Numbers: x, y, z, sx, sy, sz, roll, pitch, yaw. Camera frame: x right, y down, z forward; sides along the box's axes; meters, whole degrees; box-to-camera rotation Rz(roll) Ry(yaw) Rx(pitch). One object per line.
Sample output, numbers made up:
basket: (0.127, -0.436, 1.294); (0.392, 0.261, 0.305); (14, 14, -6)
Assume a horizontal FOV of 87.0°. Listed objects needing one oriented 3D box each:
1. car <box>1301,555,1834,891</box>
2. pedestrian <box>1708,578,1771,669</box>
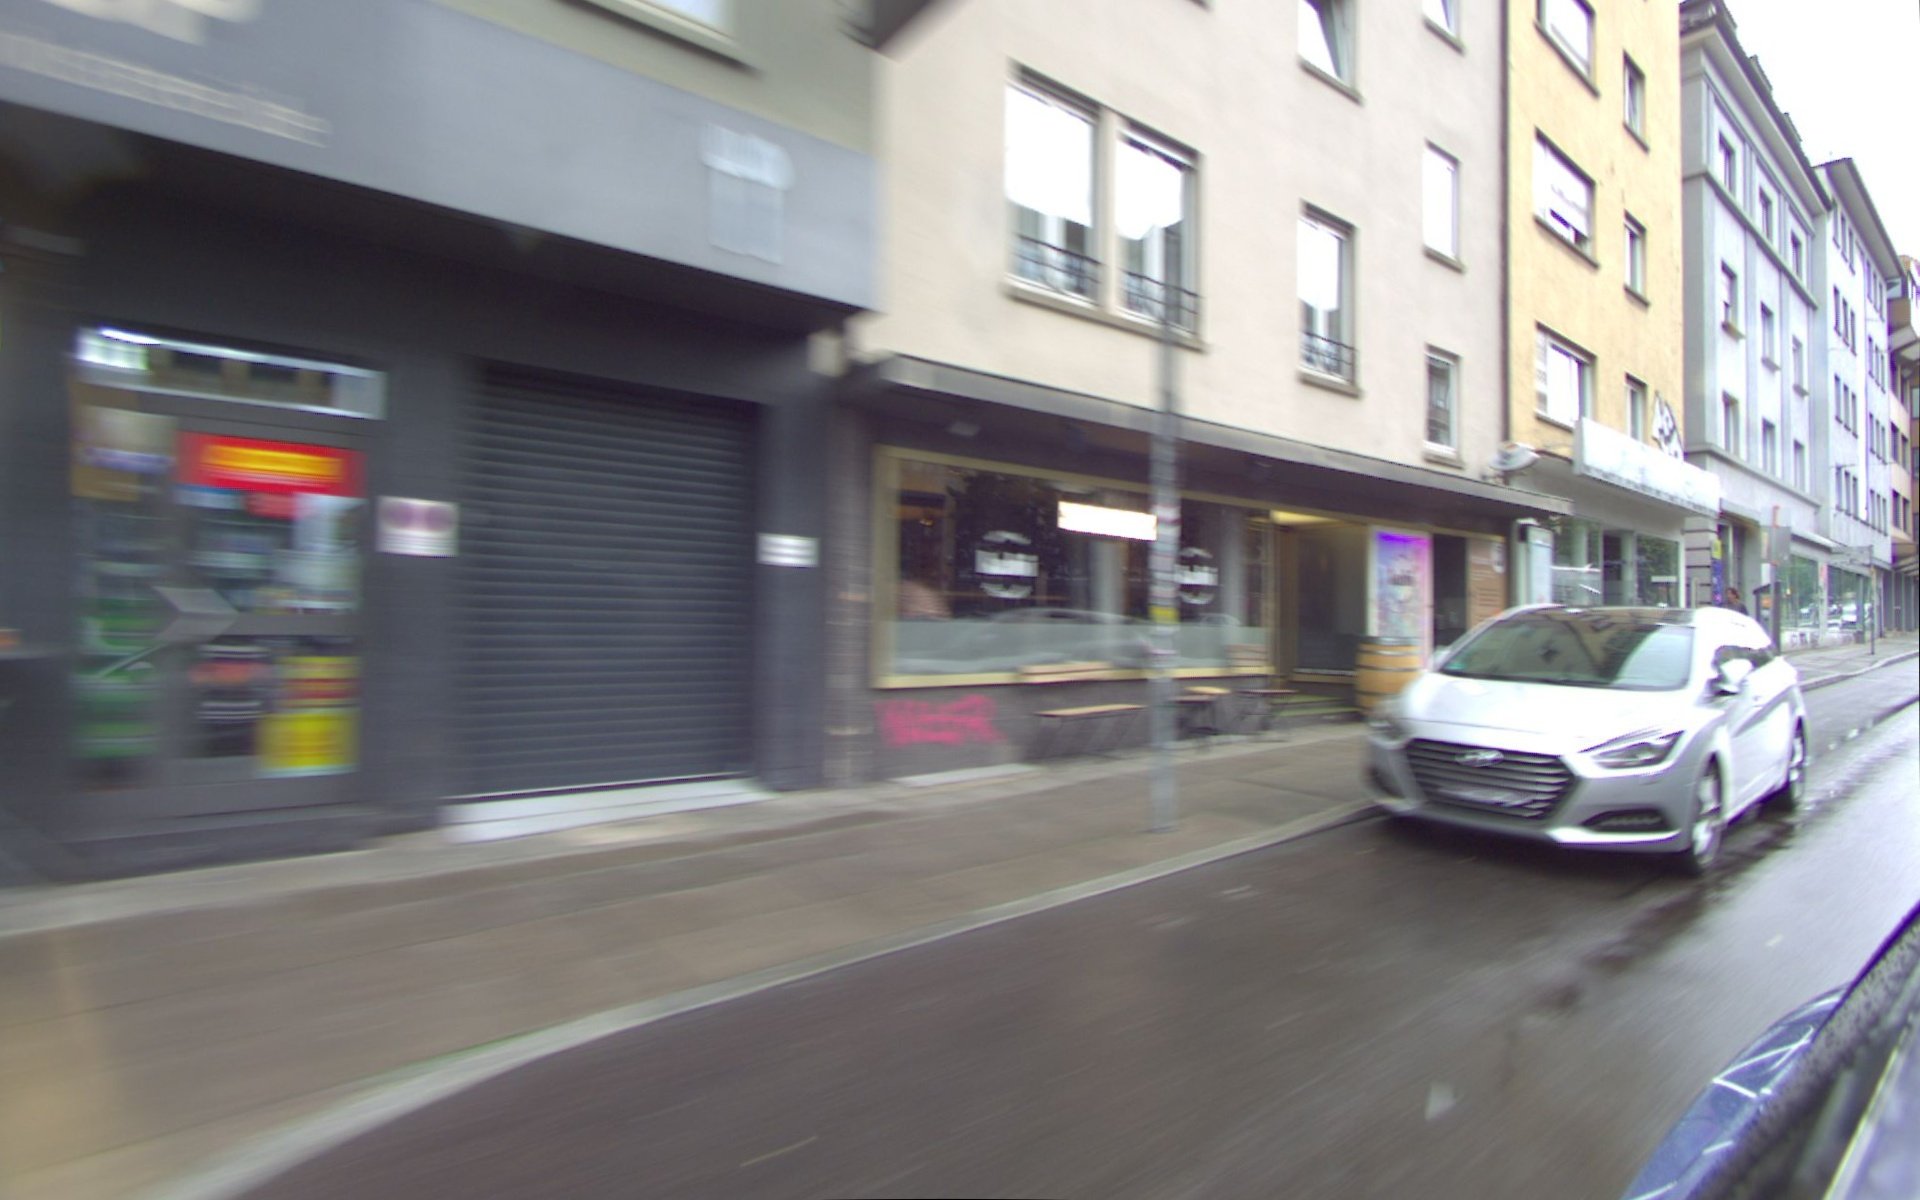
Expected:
car: (4.504, 0.591, 7.161); (4.541, 1.614, 2.027); (0, 0, -42)
pedestrian: (14.800, 0.441, 19.219); (0.708, 1.681, 0.792); (1, -2, -41)
